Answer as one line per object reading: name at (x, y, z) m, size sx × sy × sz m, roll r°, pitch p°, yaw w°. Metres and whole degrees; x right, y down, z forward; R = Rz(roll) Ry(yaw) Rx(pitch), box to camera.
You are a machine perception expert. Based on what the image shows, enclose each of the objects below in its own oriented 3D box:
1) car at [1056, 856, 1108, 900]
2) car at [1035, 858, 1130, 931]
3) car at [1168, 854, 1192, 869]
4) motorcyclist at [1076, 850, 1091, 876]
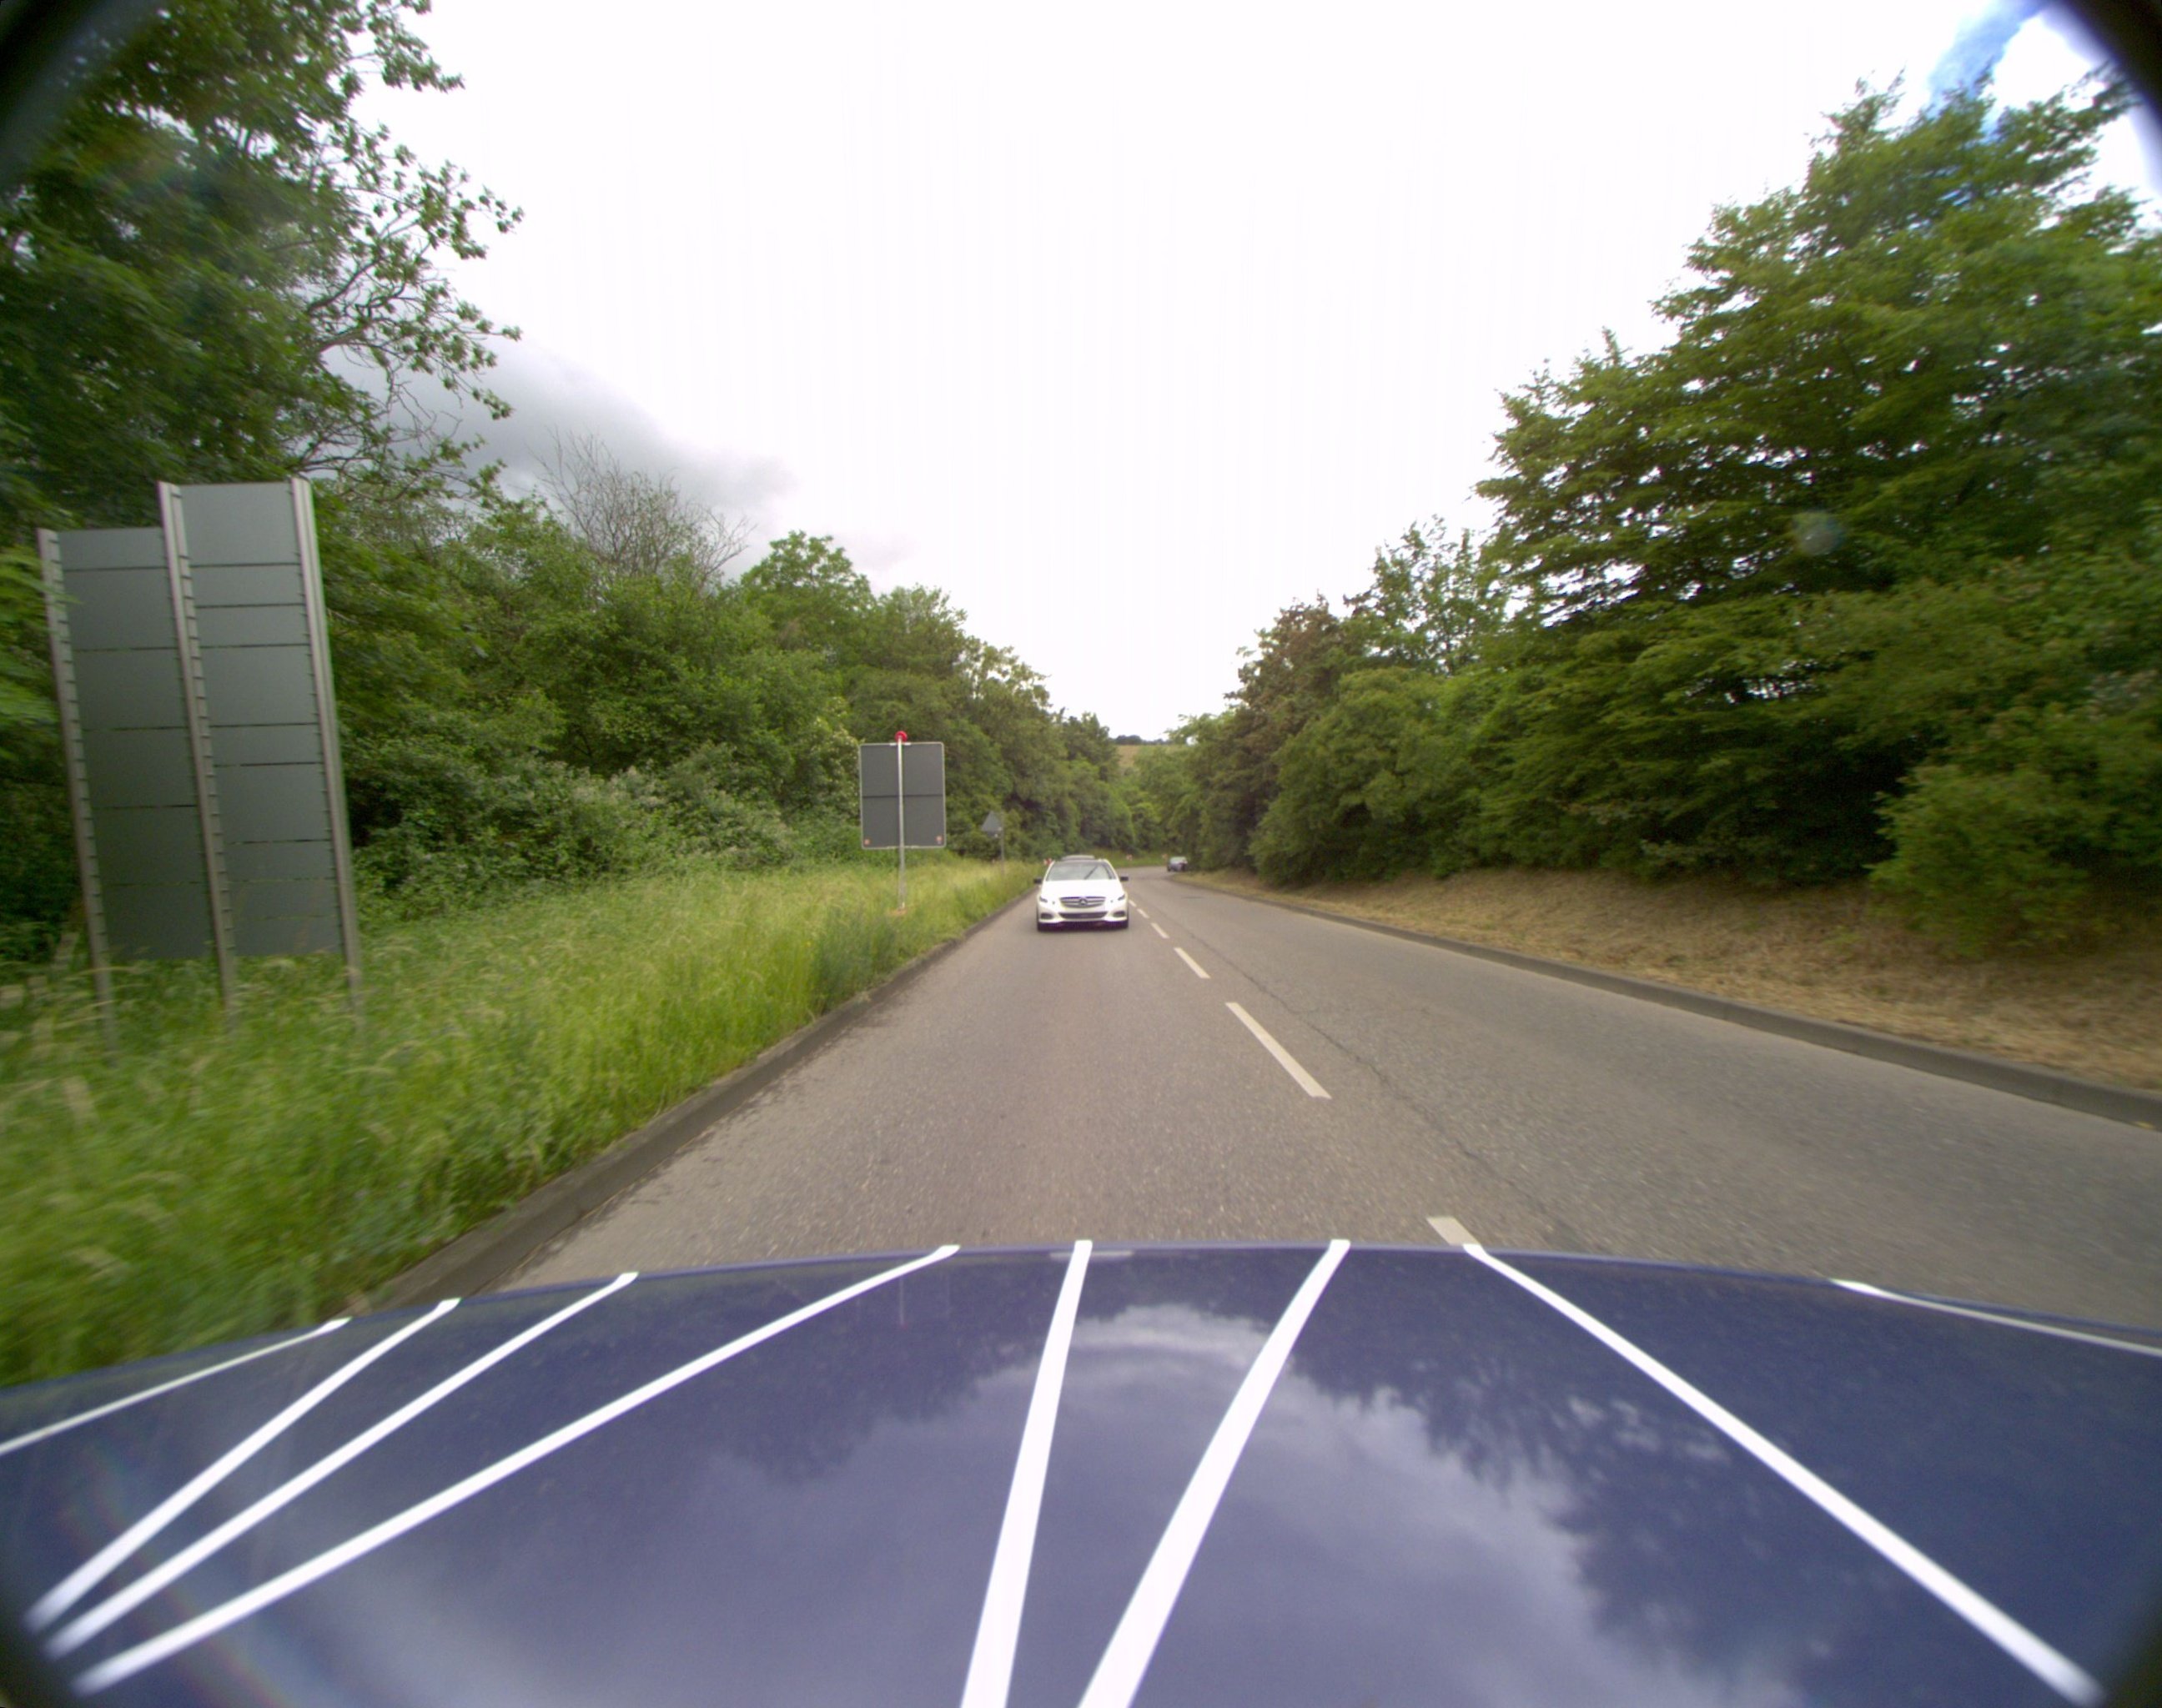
car at (0.031, 0.849, 28.767) m, size 1.823 × 1.535 × 3.725 m, roll 0°, pitch 0°, yaw -1°
car at (-0.011, 0.831, 17.341) m, size 1.887 × 1.414 × 3.999 m, roll -1°, pitch 0°, yaw -1°
car at (9.874, 0.723, 75.431) m, size 1.834 × 1.397 × 4.436 m, roll -2°, pitch 0°, yaw 13°
motorcyclist at (0.135, 0.532, 43.973) m, size 0.819 × 1.457 × 0.787 m, roll -2°, pitch 1°, yaw 2°
